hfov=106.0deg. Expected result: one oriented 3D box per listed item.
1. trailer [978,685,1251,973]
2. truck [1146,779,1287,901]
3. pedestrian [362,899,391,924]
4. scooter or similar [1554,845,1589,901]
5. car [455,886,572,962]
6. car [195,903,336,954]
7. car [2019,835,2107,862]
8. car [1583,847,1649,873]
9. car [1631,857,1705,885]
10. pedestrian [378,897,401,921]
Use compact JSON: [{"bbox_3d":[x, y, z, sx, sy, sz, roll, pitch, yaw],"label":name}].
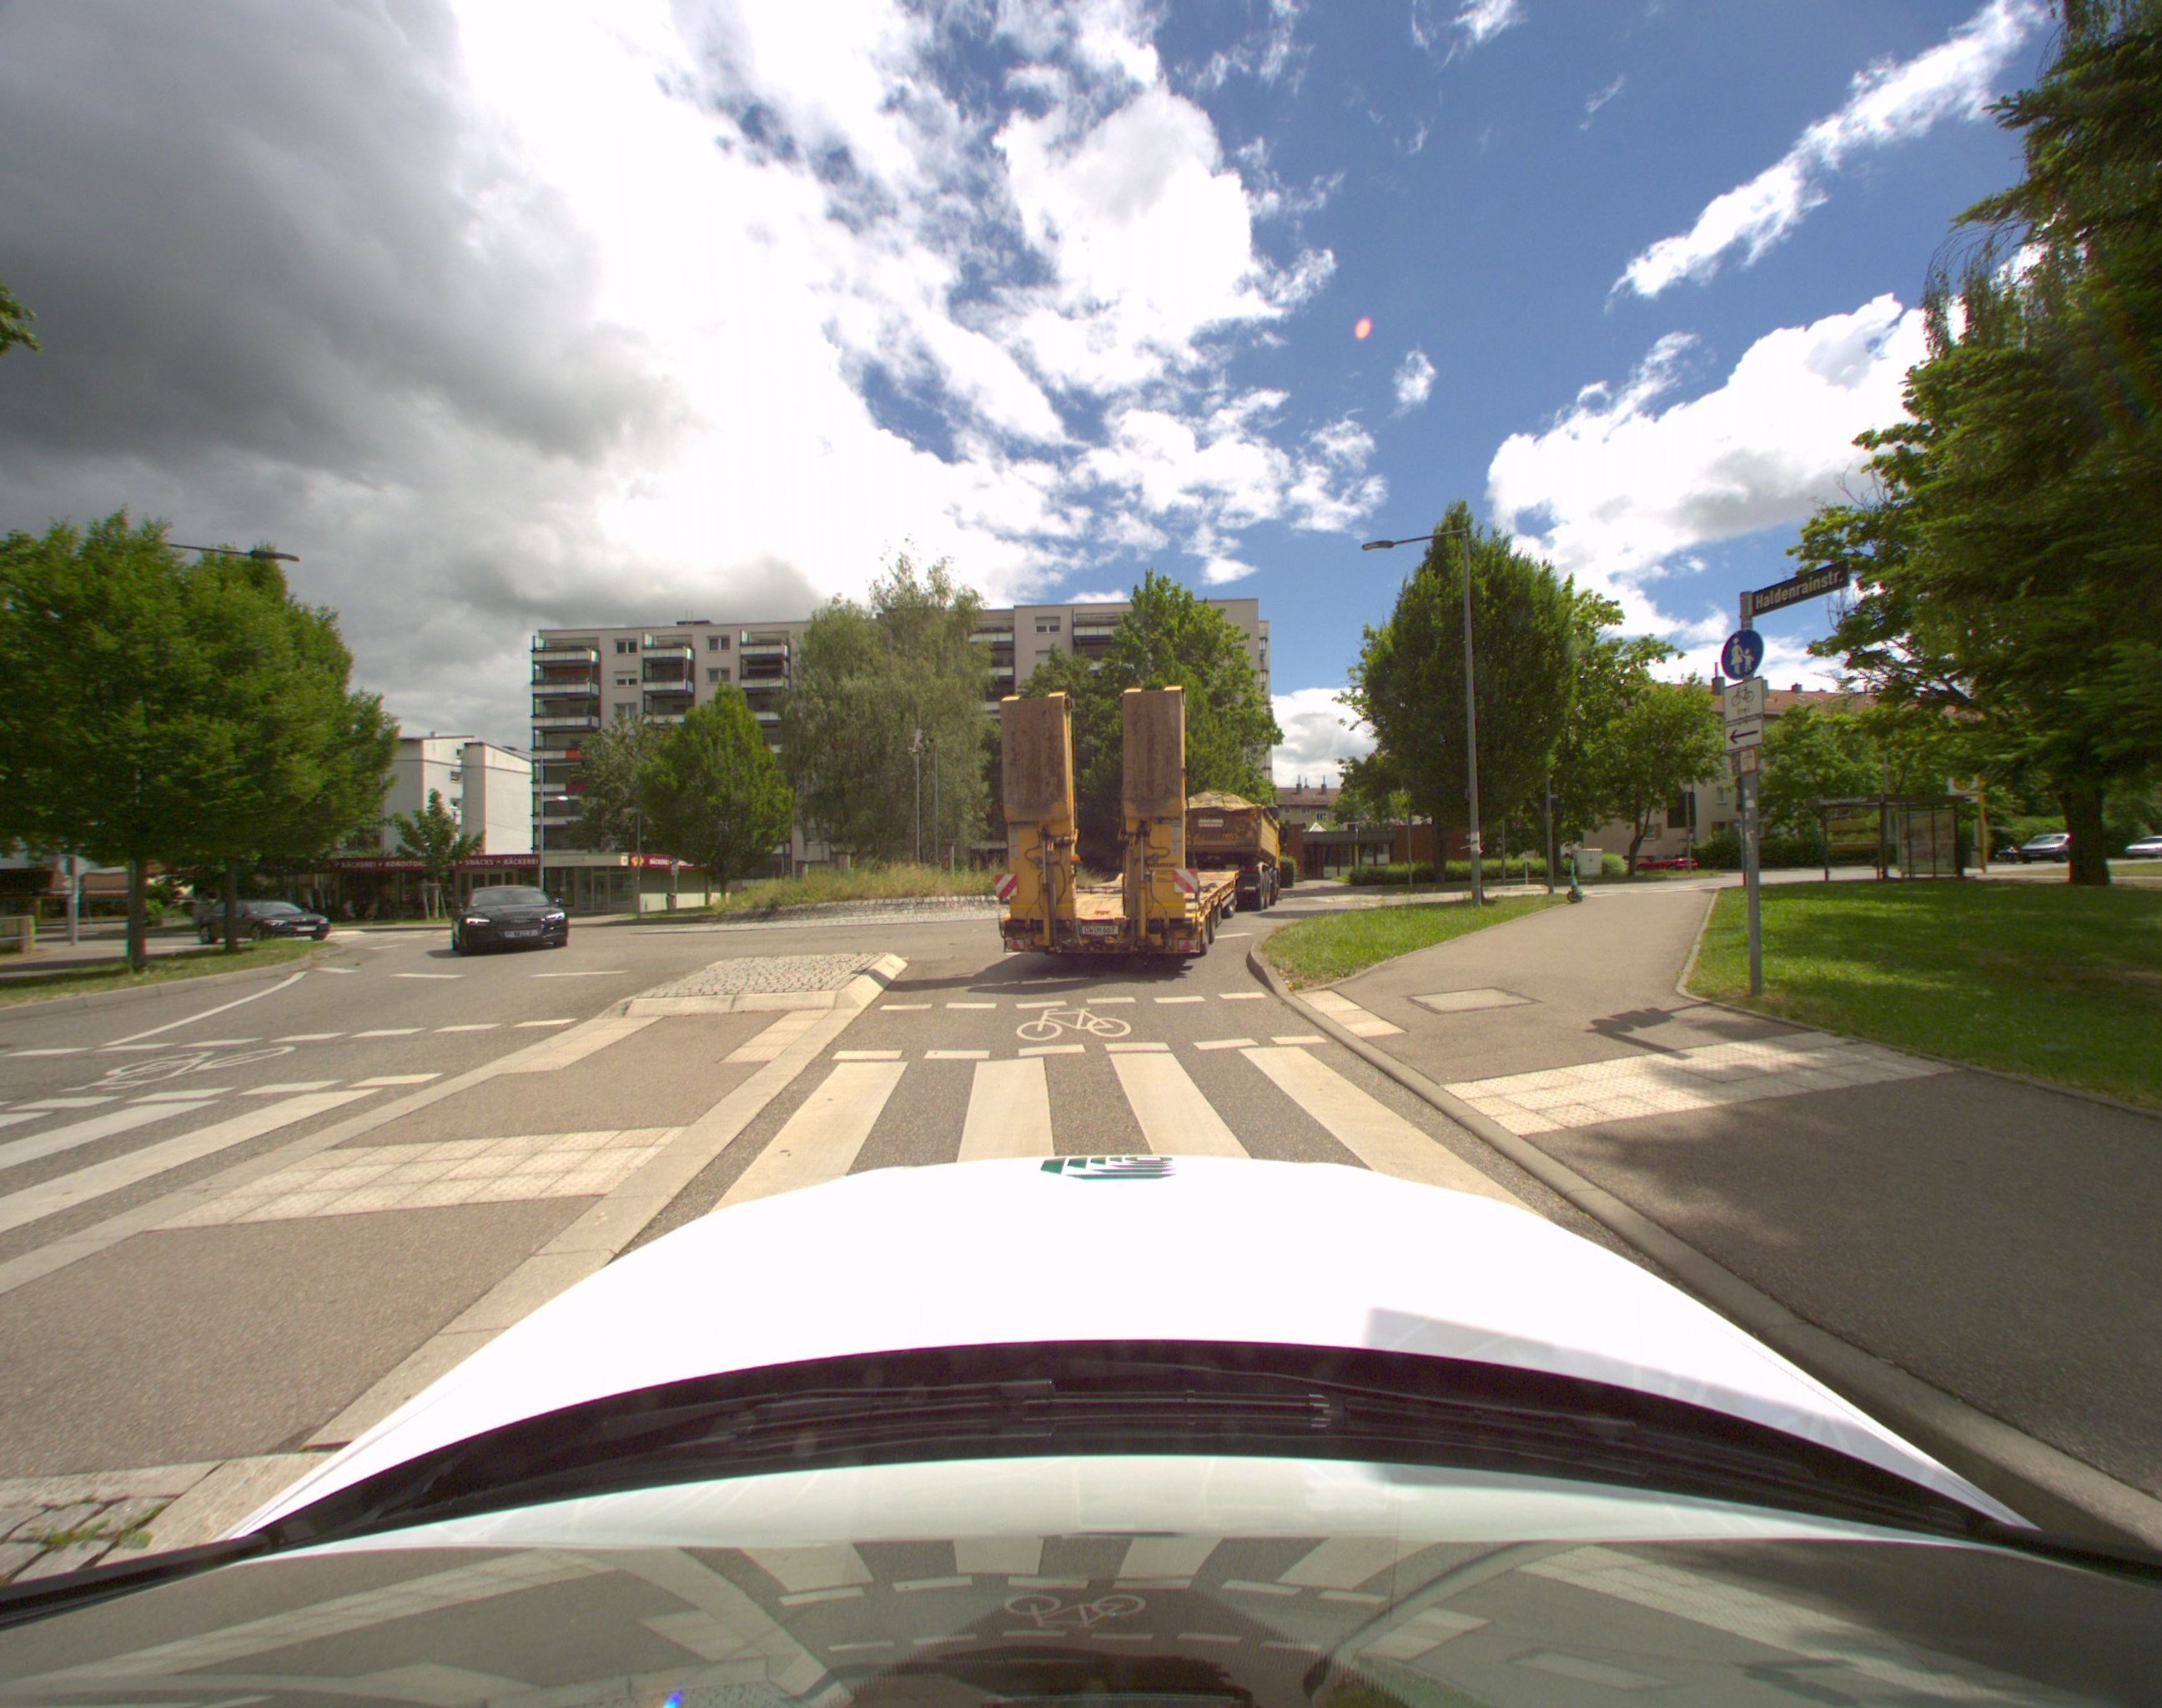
[{"bbox_3d":[1.446,-0.322,15.141,2.843,3.372,10.883,0,0,14],"label":"trailer"},{"bbox_3d":[4.412,-0.401,24.644,2.964,3.034,8.525,0,1,18],"label":"truck"},{"bbox_3d":[-40.185,3.273,46.481,0.817,1.325,0.881,0,-1,2],"label":"pedestrian"},{"bbox_3d":[12.341,0.470,20.475,0.480,1.343,1.397,-4,-1,40],"label":"scooter or similar"},{"bbox_3d":[-12.456,1.439,18.133,1.830,1.384,4.571,-1,-1,-31],"label":"car"},{"bbox_3d":[-27.776,2.486,27.733,4.335,1.455,1.869,0,-1,23],"label":"car"},{"bbox_3d":[59.292,-0.283,49.181,3.996,1.553,1.988,0,-1,-17],"label":"car"},{"bbox_3d":[41.121,0.440,62.707,1.995,1.941,3.983,0,0,-12],"label":"car"},{"bbox_3d":[41.946,1.206,58.279,2.013,1.942,3.983,0,-1,-12],"label":"car"},{"bbox_3d":[-40.197,3.190,47.342,0.692,1.381,0.722,-3,-1,9],"label":"pedestrian"}]
